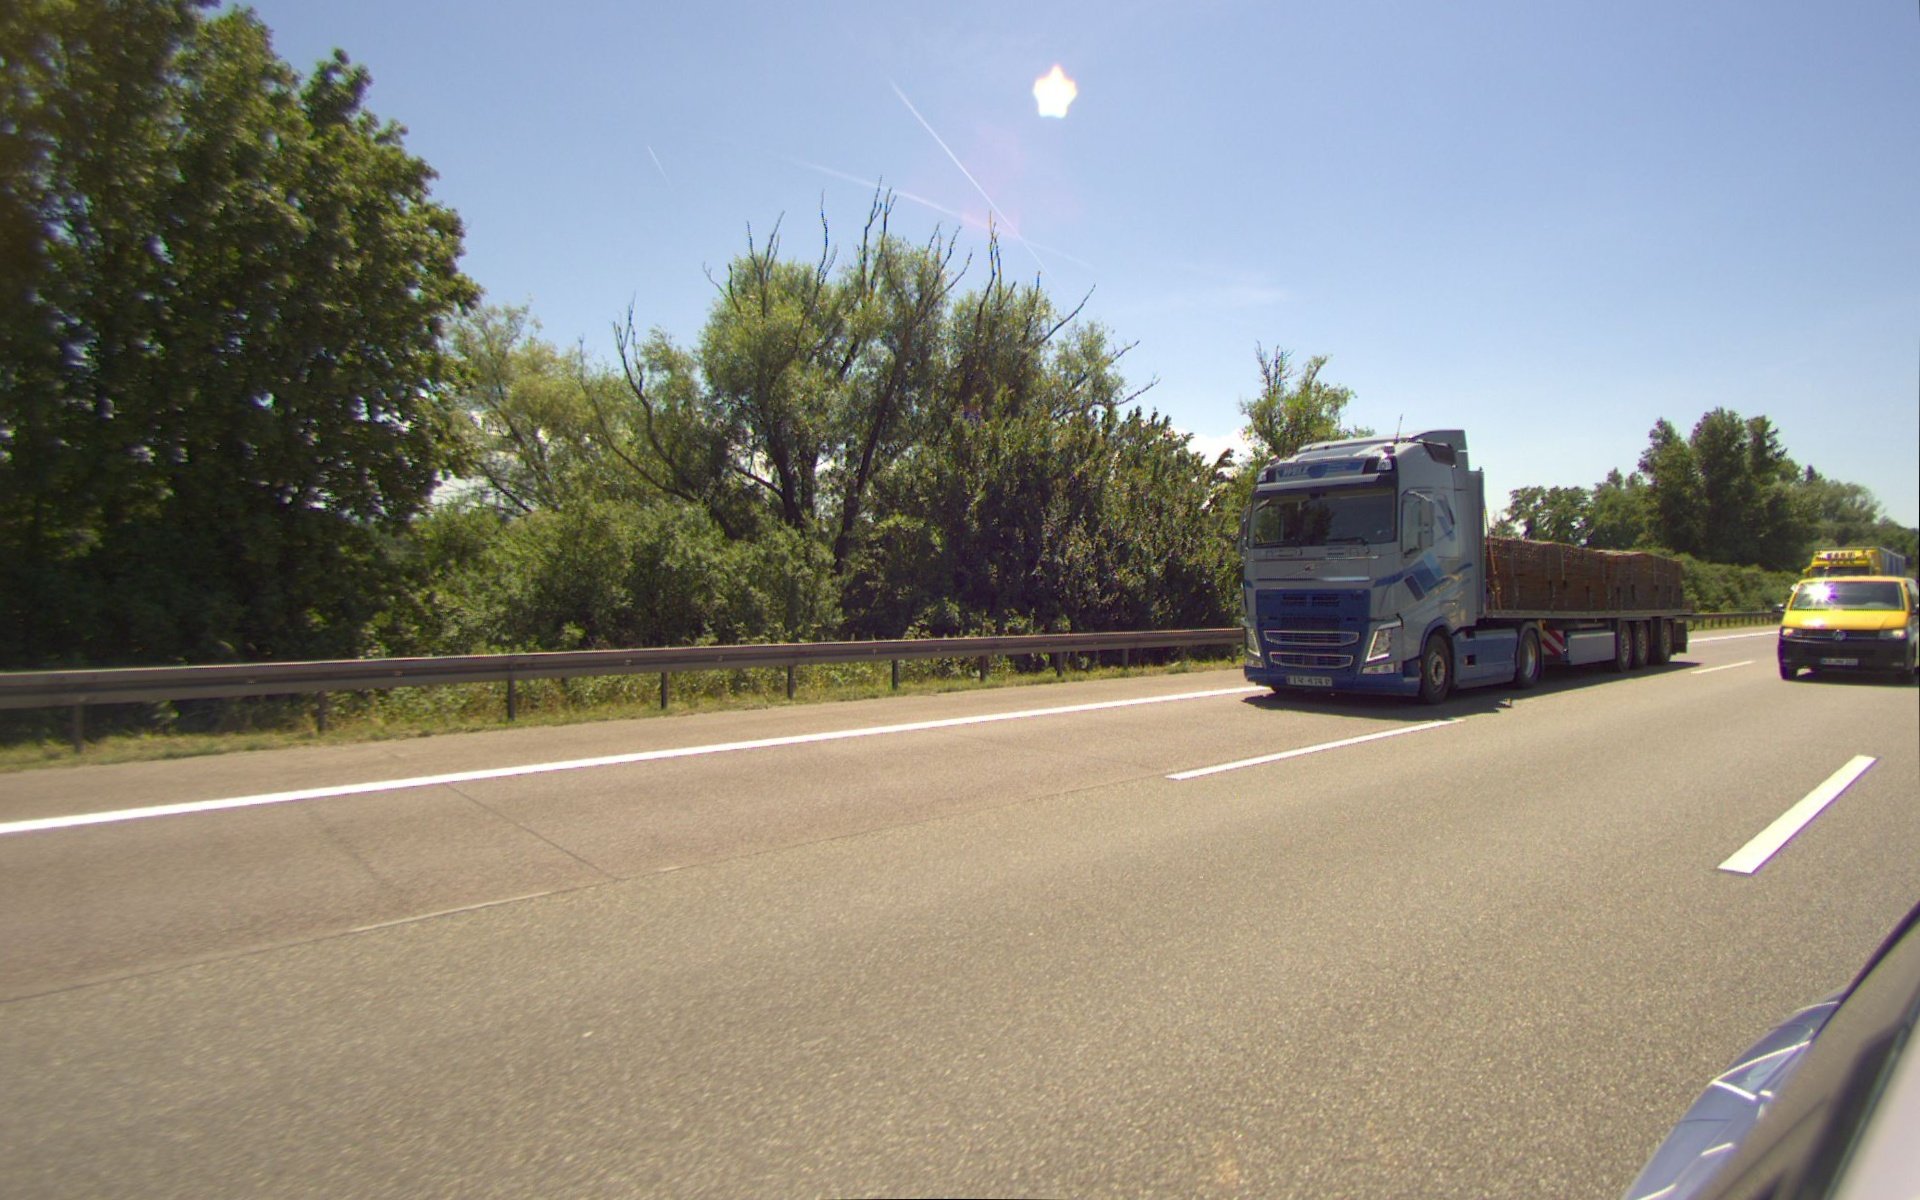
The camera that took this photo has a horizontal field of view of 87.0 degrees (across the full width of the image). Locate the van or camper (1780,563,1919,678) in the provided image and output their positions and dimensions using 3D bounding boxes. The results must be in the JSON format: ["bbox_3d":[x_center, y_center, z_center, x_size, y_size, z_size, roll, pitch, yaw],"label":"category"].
[{"bbox_3d":[17.470,0.344,19.420,4.886,1.933,1.996,0,0,-43],"label":"van or camper"}]

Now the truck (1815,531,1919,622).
[{"bbox_3d":[49.323,-1.241,54.617,16.508,4.310,2.849,-1,2,-43],"label":"truck"}]

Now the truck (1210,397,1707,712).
[{"bbox_3d":[10.720,-0.674,19.550,16.332,4.007,2.973,-1,0,-43],"label":"truck"}]
